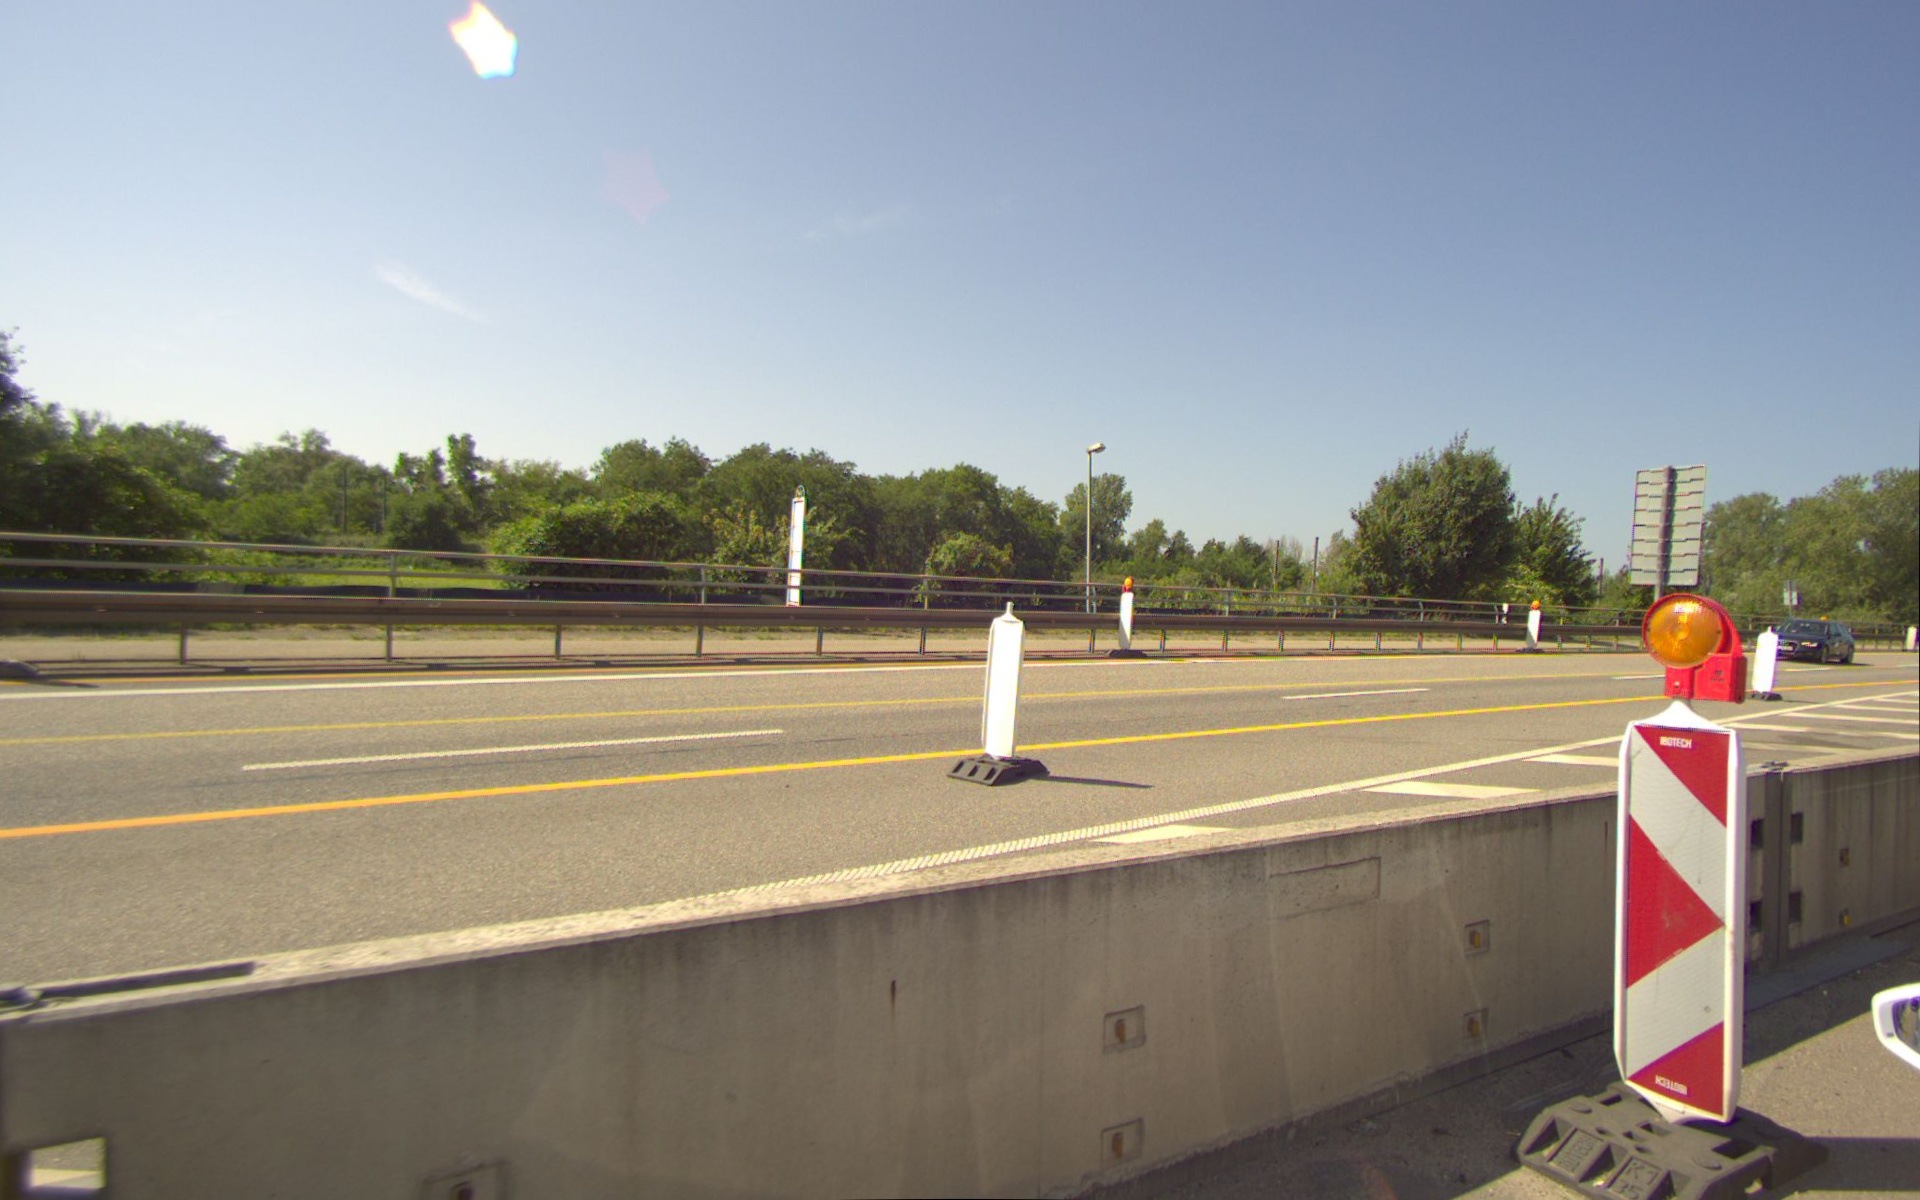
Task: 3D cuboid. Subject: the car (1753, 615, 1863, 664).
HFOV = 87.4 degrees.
[{"bbox_3d":[28.882,1.336,34.165,4.600,1.496,1.725,2,2,-36],"label":"car"}]
